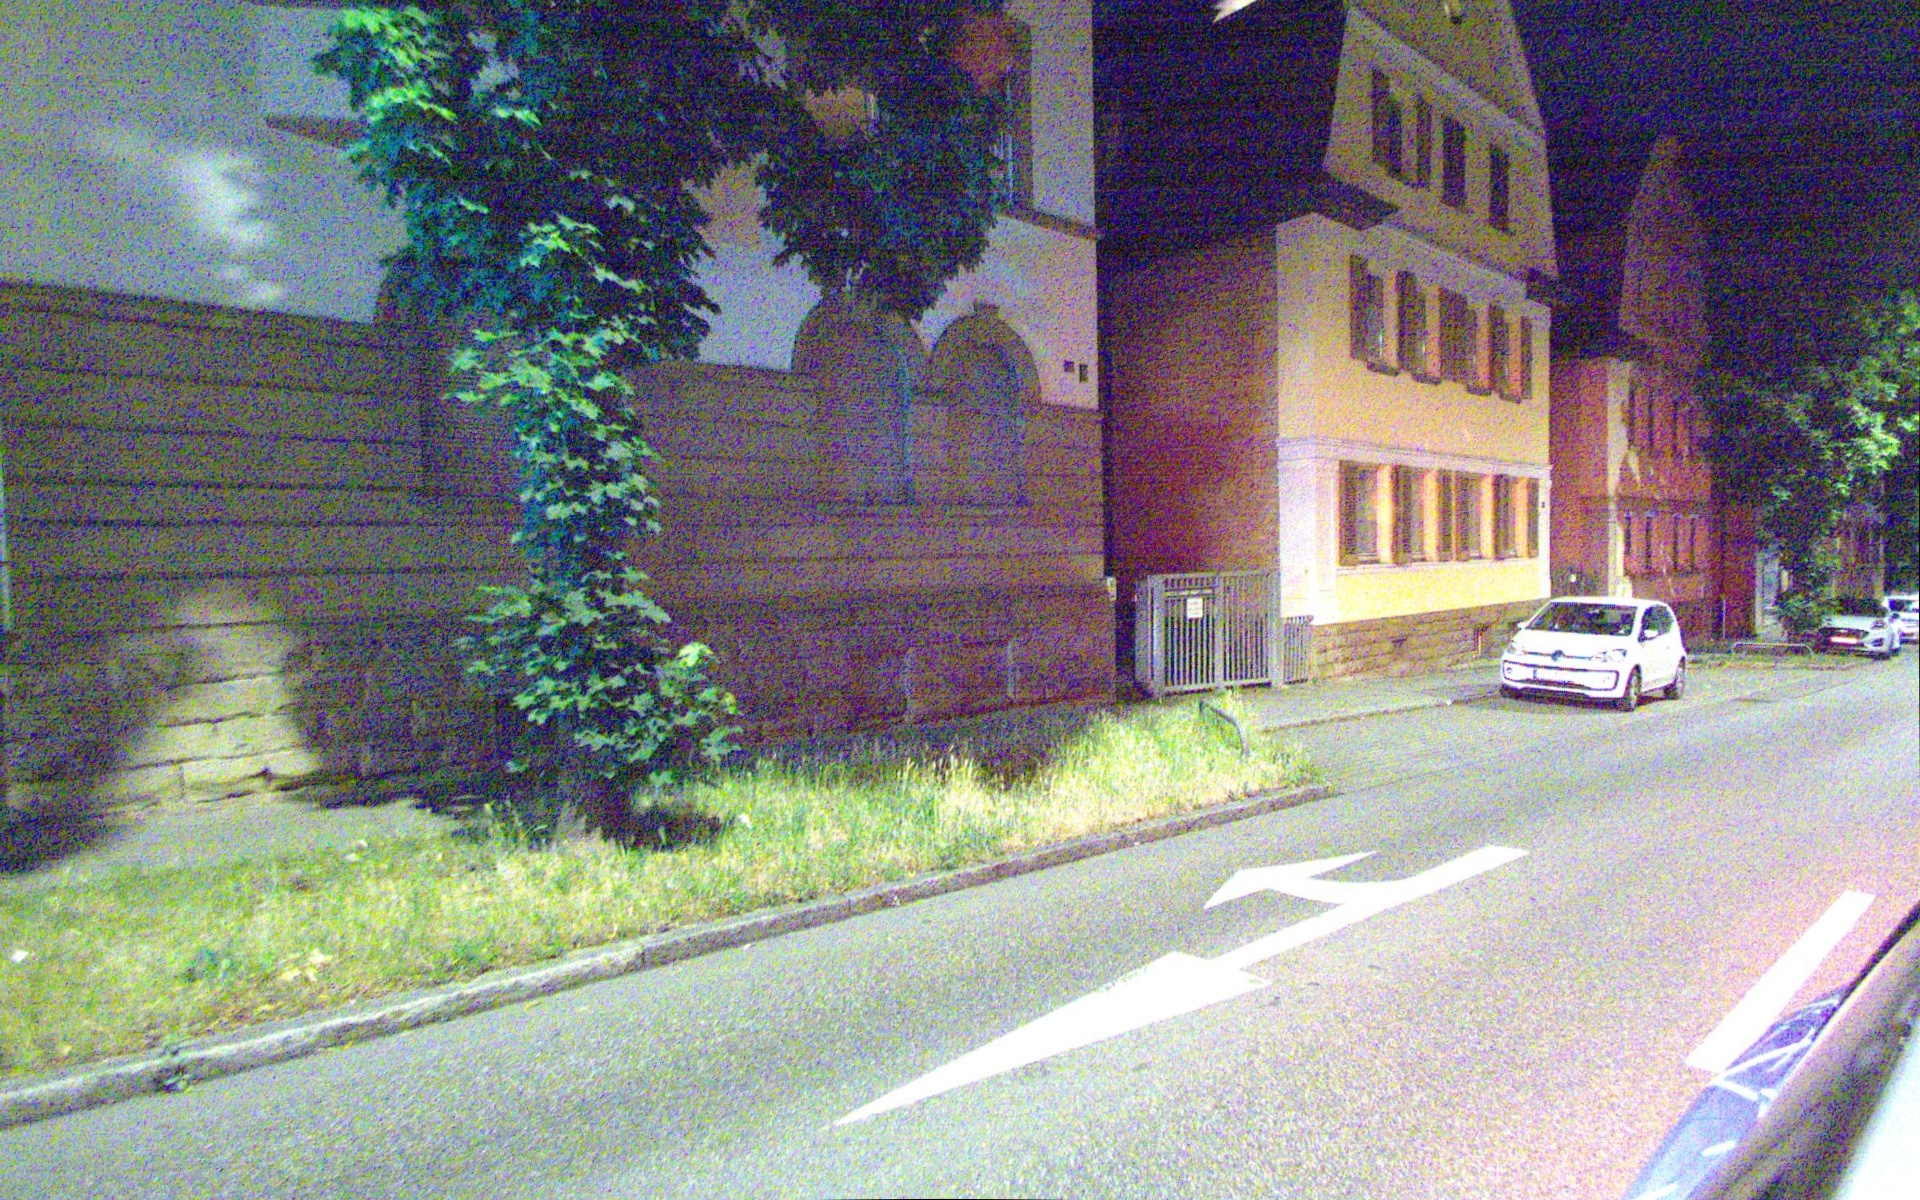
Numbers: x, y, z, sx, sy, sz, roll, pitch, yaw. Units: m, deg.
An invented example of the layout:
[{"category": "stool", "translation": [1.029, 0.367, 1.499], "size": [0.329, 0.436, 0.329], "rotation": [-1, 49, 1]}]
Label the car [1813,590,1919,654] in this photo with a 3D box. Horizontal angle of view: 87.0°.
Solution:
[{"category": "car", "translation": [23.612, 0.508, 26.273], "size": [3.824, 1.516, 1.740], "rotation": [0, 2, -43]}]

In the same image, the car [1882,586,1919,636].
[{"category": "car", "translation": [33.536, 0.368, 35.130], "size": [4.107, 1.673, 1.850], "rotation": [0, 0, -42]}]

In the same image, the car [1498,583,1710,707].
[{"category": "car", "translation": [9.252, 0.557, 14.462], "size": [3.425, 1.527, 1.610], "rotation": [0, 2, -41]}]
